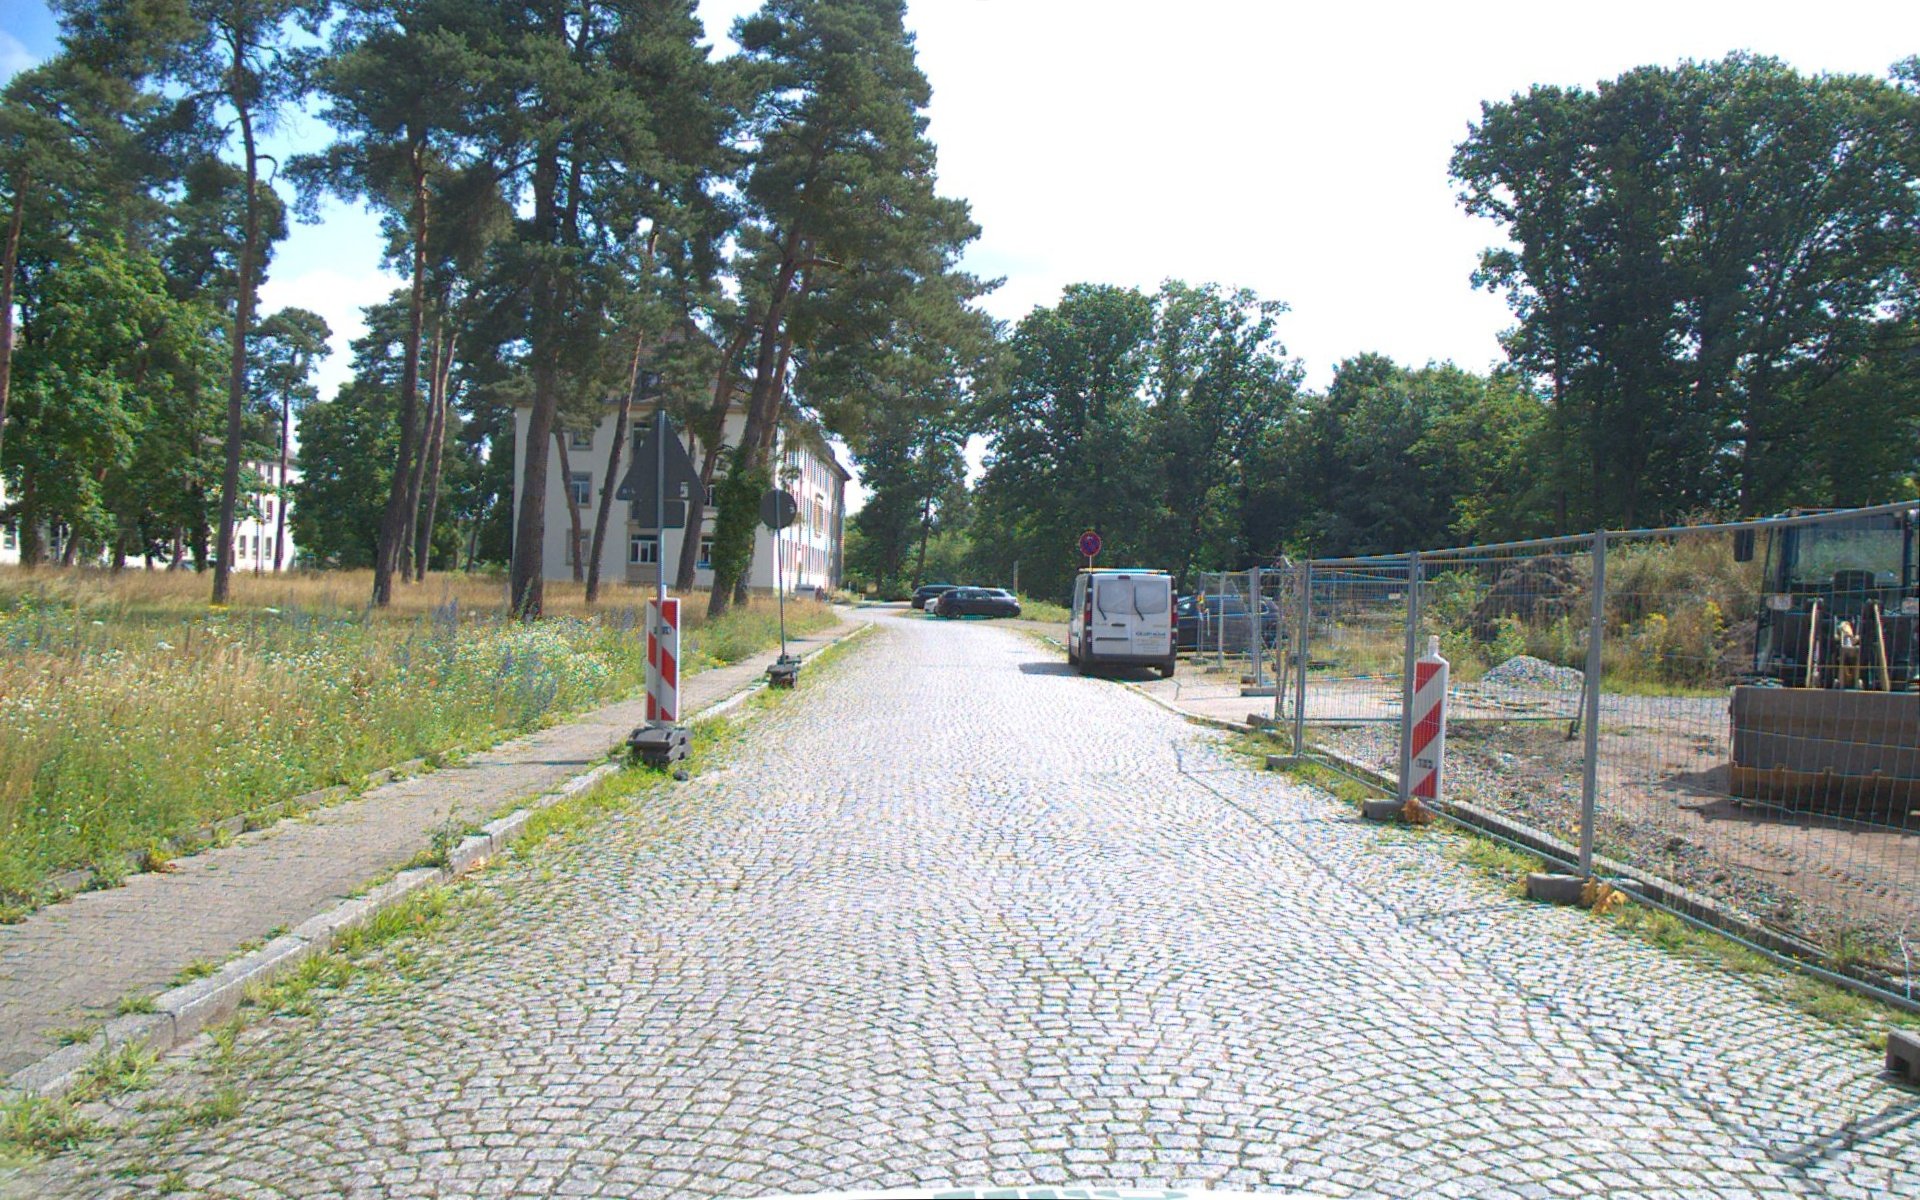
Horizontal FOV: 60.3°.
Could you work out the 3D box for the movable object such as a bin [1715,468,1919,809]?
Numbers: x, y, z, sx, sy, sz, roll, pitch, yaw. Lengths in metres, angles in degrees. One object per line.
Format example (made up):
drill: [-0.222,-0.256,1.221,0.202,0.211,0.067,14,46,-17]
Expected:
movable object such as a bin: [8.207,0.238,15.086,2.101,2.565,5.649,1,1,27]

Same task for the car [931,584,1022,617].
car: [0.802,-0.002,81.065,4.244,1.526,1.826,0,1,-9]

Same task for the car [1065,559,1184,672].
car: [3.249,0.268,33.735,1.874,2.089,5.679,1,0,0]

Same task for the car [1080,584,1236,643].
car: [5.276,0.344,44.375,3.907,1.533,1.745,0,0,-3]

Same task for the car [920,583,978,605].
car: [-0.788,-0.430,119.601,4.100,1.570,1.820,0,0,1]

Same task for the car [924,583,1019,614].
car: [0.575,-0.073,84.145,4.764,1.498,1.874,0,1,-2]

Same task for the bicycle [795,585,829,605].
bicycle: [-9.708,-0.342,108.481,2.176,1.282,0.623,1,0,1]

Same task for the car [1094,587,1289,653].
car: [5.524,0.458,39.710,4.367,1.501,1.744,0,0,-5]
